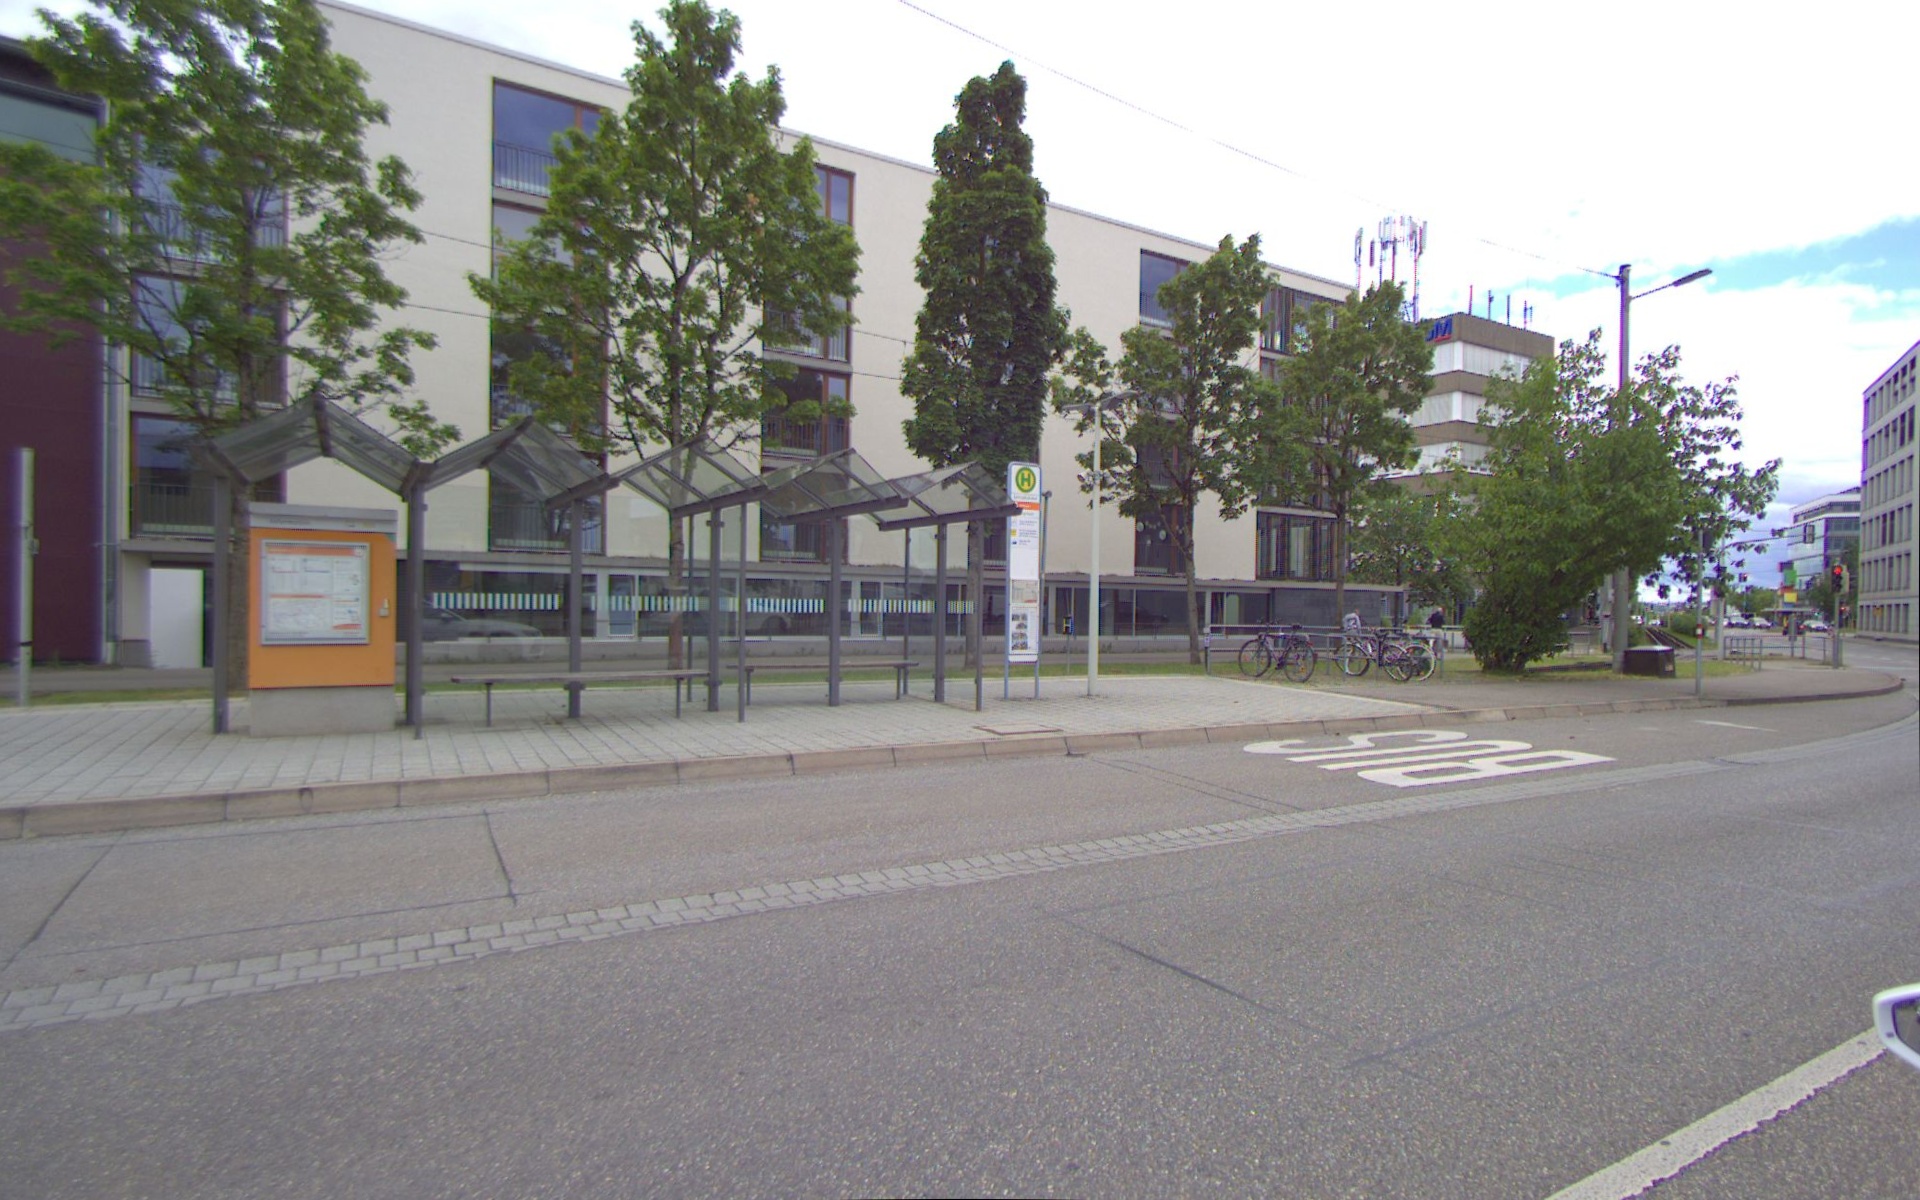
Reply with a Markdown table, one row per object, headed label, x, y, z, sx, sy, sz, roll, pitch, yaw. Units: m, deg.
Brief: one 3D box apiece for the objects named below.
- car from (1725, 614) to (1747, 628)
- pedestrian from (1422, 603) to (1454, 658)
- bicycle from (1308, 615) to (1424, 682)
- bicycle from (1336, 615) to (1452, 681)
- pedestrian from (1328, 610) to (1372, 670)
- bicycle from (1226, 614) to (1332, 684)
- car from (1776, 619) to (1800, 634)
| label | x | y | z | sx | sy | sz | roll | pitch | yaw |
| --- | --- | --- | --- | --- | --- | --- | --- | --- | --- |
| car | 103.695 | 2.781 | 134.214 | 1.825 | 1.718 | 3.991 | 1 | 0 | 31 |
| pedestrian | 18.310 | 1.167 | 38.476 | 0.757 | 2.041 | 0.886 | 5 | 3 | 40 |
| bicycle | 7.681 | 0.898 | 19.091 | 0.624 | 1.121 | 2.089 | 1 | 1 | -29 |
| bicycle | 8.340 | 0.899 | 19.389 | 0.624 | 1.121 | 2.089 | 1 | 1 | -29 |
| pedestrian | 12.197 | 1.248 | 31.434 | 0.896 | 1.788 | 0.826 | 2 | 2 | -31 |
| bicycle | 5.715 | 0.857 | 18.105 | 0.580 | 1.121 | 1.919 | 1 | 1 | -29 |
| car | 87.039 | 2.800 | 105.569 | 1.877 | 1.506 | 3.980 | 1 | 0 | 41 |
